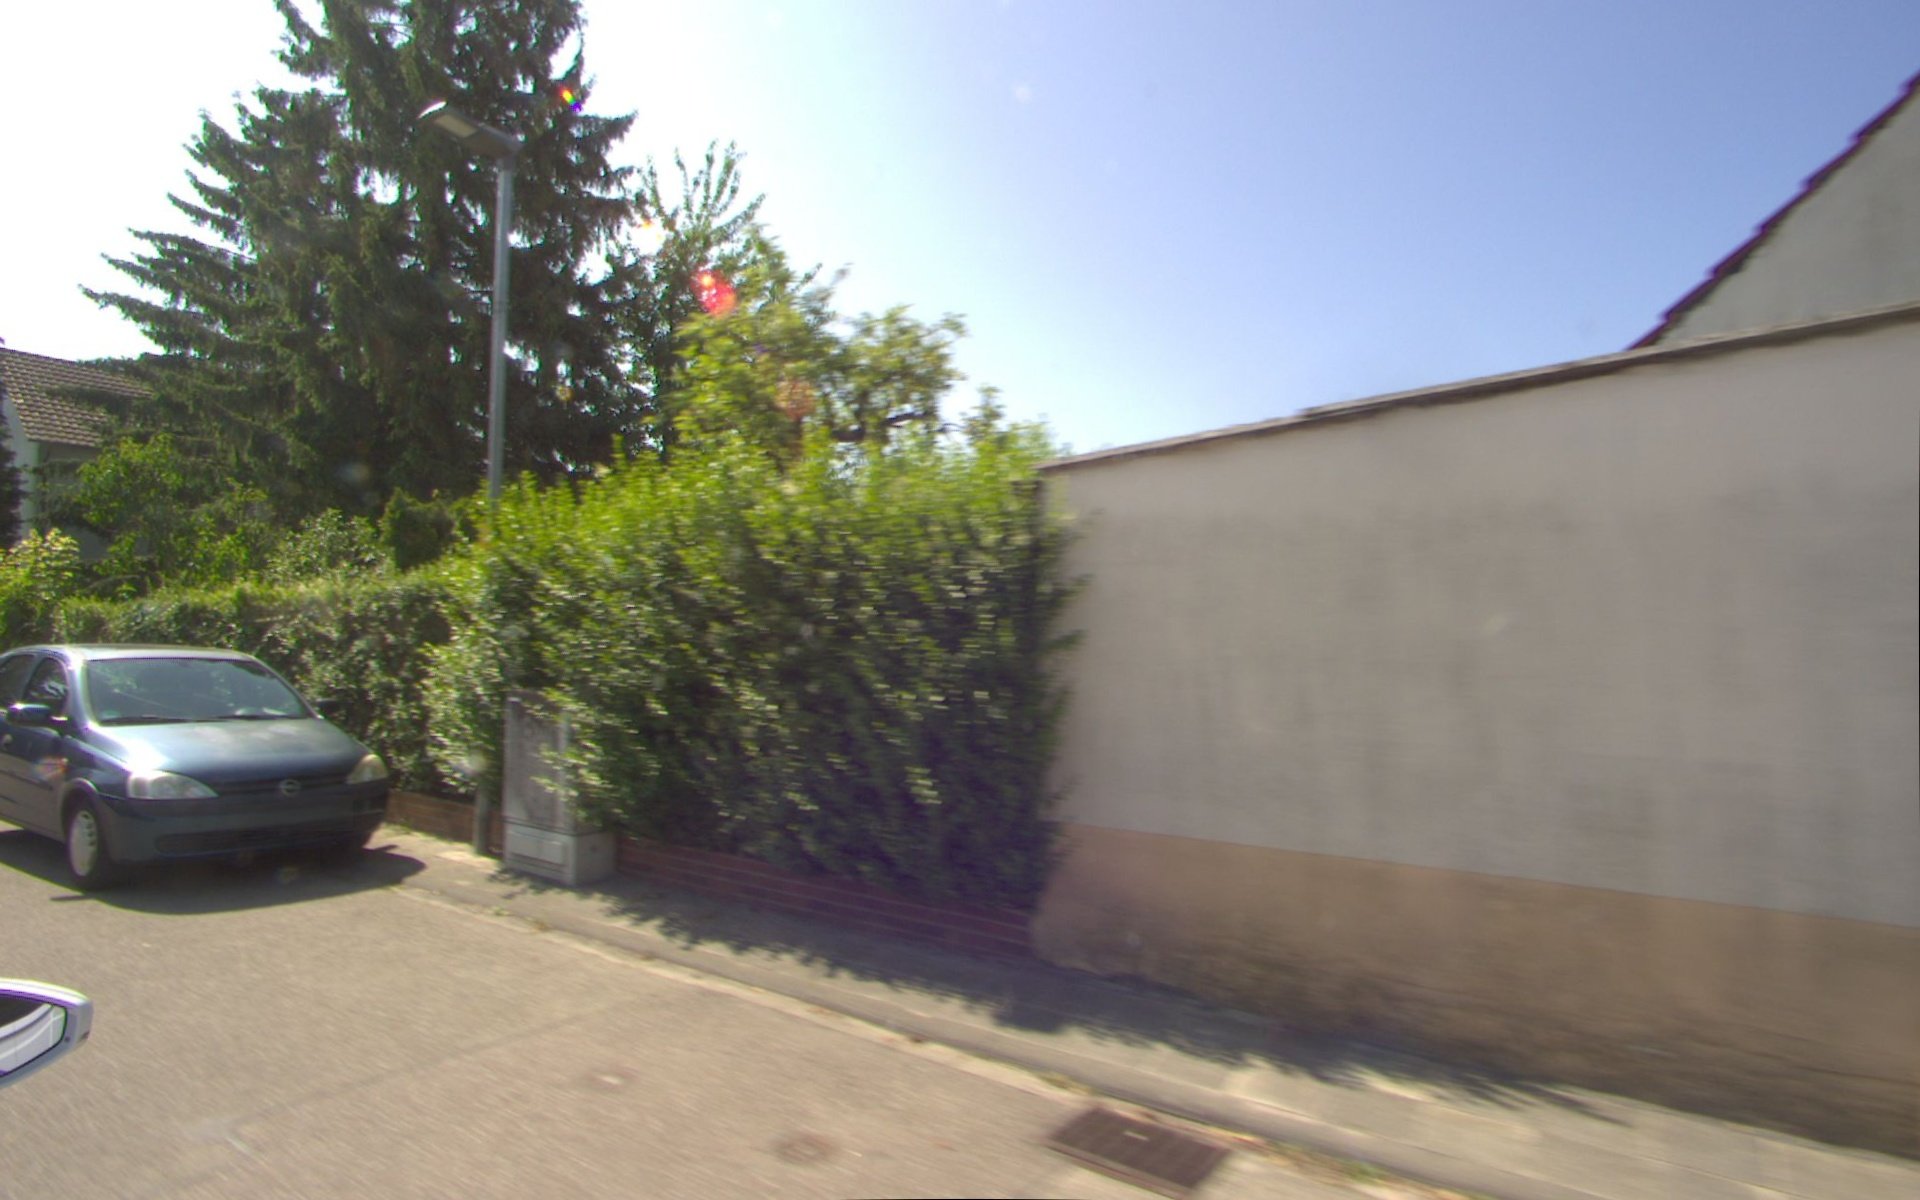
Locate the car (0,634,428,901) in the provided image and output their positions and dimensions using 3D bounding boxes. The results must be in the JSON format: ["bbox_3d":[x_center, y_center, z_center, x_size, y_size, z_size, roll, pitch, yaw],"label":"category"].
[{"bbox_3d":[-5.756,0.986,7.212,3.944,1.417,1.700,-1,-4,34],"label":"car"}]
